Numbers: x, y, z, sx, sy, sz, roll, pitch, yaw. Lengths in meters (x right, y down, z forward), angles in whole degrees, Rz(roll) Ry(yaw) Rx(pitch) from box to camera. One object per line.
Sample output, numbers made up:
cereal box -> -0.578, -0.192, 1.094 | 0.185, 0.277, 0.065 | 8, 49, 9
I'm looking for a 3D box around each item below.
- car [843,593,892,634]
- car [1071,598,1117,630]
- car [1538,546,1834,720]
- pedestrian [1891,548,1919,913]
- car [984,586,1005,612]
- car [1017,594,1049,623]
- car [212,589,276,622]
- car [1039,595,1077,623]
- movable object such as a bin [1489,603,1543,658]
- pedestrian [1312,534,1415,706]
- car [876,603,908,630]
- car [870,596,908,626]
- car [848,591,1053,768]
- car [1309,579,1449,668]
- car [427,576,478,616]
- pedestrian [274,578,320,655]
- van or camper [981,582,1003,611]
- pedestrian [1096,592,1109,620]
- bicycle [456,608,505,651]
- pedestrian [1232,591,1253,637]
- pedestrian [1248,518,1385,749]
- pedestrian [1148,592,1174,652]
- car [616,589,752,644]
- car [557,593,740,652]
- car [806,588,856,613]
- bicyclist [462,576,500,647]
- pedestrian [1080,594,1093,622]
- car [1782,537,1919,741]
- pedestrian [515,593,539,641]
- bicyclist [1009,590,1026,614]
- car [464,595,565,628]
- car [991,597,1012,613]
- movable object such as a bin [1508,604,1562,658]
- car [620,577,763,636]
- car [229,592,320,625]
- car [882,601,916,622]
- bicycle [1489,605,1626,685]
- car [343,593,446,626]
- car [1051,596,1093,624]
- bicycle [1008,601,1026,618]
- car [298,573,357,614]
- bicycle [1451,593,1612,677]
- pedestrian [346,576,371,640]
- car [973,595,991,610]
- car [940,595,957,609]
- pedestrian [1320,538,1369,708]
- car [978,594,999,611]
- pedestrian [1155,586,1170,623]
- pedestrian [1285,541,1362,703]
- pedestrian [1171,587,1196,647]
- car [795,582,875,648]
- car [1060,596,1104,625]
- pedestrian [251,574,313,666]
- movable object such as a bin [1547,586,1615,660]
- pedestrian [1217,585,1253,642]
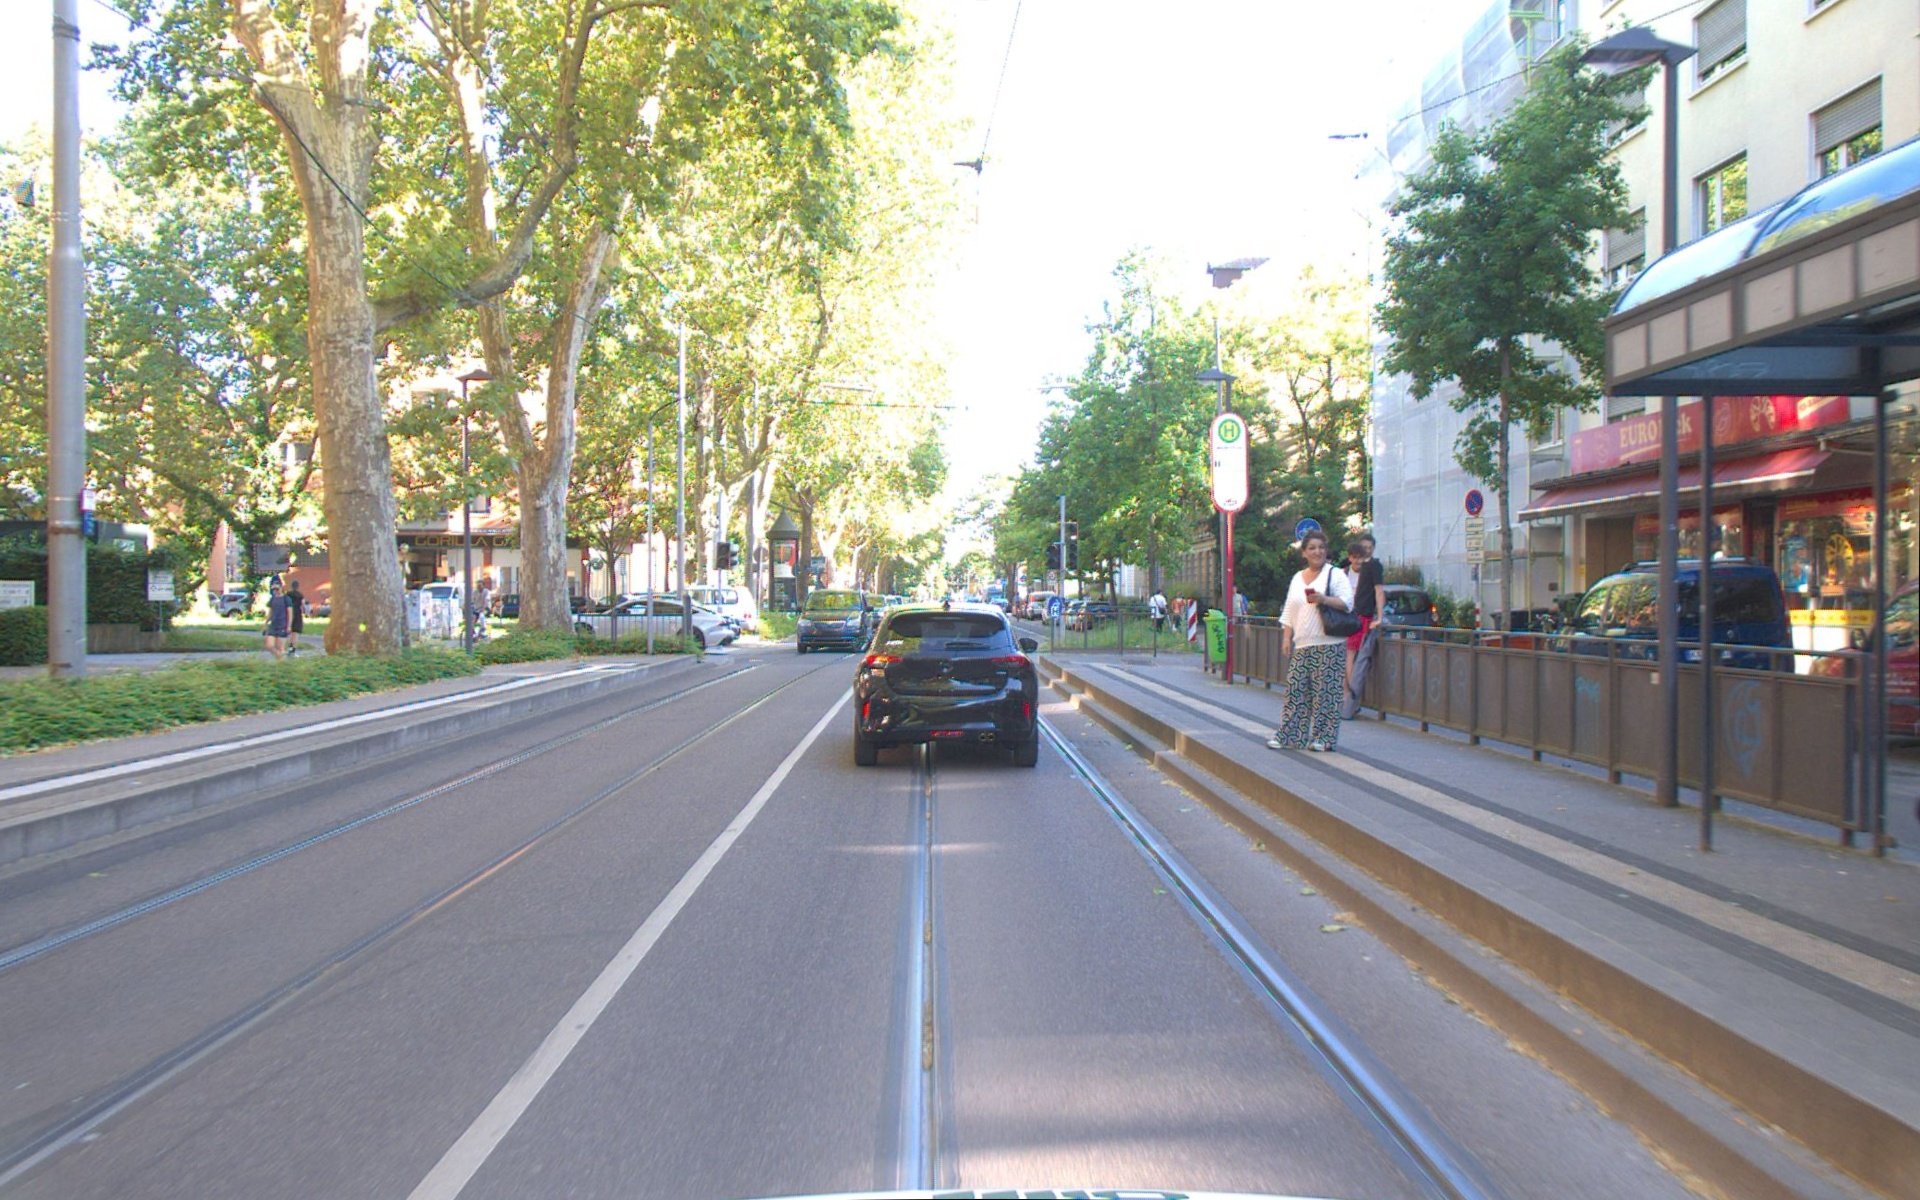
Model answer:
car -> -3.936, 0.565, 71.030 | 1.869, 1.666, 4.320 | -1, 0, -1
car -> 6.319, 0.655, 78.440 | 1.639, 1.437, 3.841 | -2, 0, -3
car -> 9.233, 0.380, 21.468 | 1.953, 1.929, 4.194 | -3, 0, 1
pedestrian -> 3.925, 0.488, 6.098 | 0.706, 1.349, 0.492 | 1, -1, -12
car -> 3.770, -0.100, 181.964 | 2.043, 2.820, 4.696 | -1, 0, -1
car -> 5.061, 0.576, 114.634 | 1.846, 1.883, 4.966 | -2, 0, -1
car -> -37.511, 0.283, 86.717 | 1.908, 1.646, 4.475 | 1, 0, -8
car -> 5.865, 0.538, 99.298 | 1.846, 1.595, 4.241 | -2, 0, -1
movable object such as a bin -> 11.732, 0.644, 34.884 | 0.863, 1.130, 0.696 | -1, 0, -3
pedestrian -> 4.169, 0.203, 17.124 | 0.828, 1.730, 0.692 | 1, 0, -8
car -> -4.133, 0.976, 101.119 | 1.779, 1.596, 4.115 | -1, 0, -1
car -> -3.608, 0.552, 84.487 | 1.739, 1.486, 4.204 | 1, 0, 0
car -> -0.107, 0.688, 16.109 | 1.727, 1.486, 3.949 | 1, 0, -1
car -> 8.443, 0.420, 33.706 | 1.726, 1.650, 4.442 | -2, 1, 0
car -> -26.821, -0.196, 87.592 | 1.957, 2.038, 4.908 | 1, 0, -10
pedestrian -> -14.843, 0.373, 37.041 | 0.695, 1.702, 0.779 | 1, 0, -1
van or camper -> 3.622, -0.362, 188.527 | 2.208, 3.272, 5.529 | -1, 0, -1
pedestrian -> 8.957, 0.389, 103.928 | 0.711, 1.739, 0.856 | 1, 0, 1
bicycle -> -12.428, 0.744, 42.915 | 0.700, 1.082, 1.839 | 1, 0, 0
pedestrian -> 11.005, 0.549, 64.495 | 0.607, 1.756, 0.552 | 1, -1, -13
pedestrian -> 2.784, 0.253, 12.956 | 0.633, 1.742, 0.826 | 1, -1, -35
pedestrian -> 6.241, 0.666, 51.266 | 0.710, 1.824, 0.854 | -2, 0, 10
car -> -8.830, 0.525, 53.175 | 4.056, 1.675, 1.901 | 1, 0, -3
car -> -8.372, 0.606, 44.776 | 4.671, 1.486, 1.953 | 1, 0, -5
car -> -13.556, 0.059, 173.647 | 4.934, 2.416, 2.081 | -3, 0, -1
bicyclist -> -12.425, 0.306, 42.909 | 0.685, 1.819, 0.839 | 1, 0, 0
pedestrian -> 7.943, 0.509, 103.937 | 0.711, 1.722, 0.956 | 1, 0, -2
car -> 9.255, 0.358, 14.721 | 1.654, 1.786, 4.172 | 1, 0, -2
pedestrian -> -16.574, 0.643, 63.290 | 0.630, 1.841, 0.752 | 1, 0, 4
bicyclist -> 3.684, 0.105, 105.883 | 0.939, 1.525, 1.093 | 1, 0, -3
car -> -21.580, 0.545, 80.231 | 4.441, 1.515, 1.857 | 1, 0, -7
car -> 4.071, 0.508, 164.668 | 1.846, 1.459, 4.529 | -2, 0, -1
movable object such as a bin -> 12.313, 0.656, 35.445 | 0.863, 1.130, 0.696 | -1, 0, -3
car -> -8.946, 0.231, 55.373 | 4.479, 1.866, 1.937 | 1, 0, -3
car -> -32.638, 0.403, 78.837 | 3.636, 1.475, 1.686 | 1, 0, -6
car -> -4.442, 0.839, 119.962 | 1.635, 1.469, 3.456 | 1, 0, -17
bicycle -> 9.786, 0.725, 27.176 | 0.675, 1.231, 2.190 | -1, 0, -29
car -> -27.088, 0.465, 79.318 | 4.385, 1.475, 1.820 | 1, 0, -9
car -> 6.348, 0.579, 94.465 | 1.846, 1.492, 4.591 | -2, 0, -3
bicycle -> 3.667, 0.610, 105.893 | 0.948, 1.016, 2.582 | 1, 0, -2
car -> -33.112, -0.313, 86.704 | 1.957, 2.038, 4.908 | 1, 0, -10
bicycle -> 9.014, 0.542, 26.141 | 2.159, 1.231, 1.029 | -2, 0, -1
pedestrian -> -16.595, 0.215, 45.634 | 0.526, 1.735, 0.586 | 1, -1, -33
car -> 2.874, 0.345, 216.658 | 2.208, 1.873, 5.529 | -1, 0, -1
car -> -1.508, 0.290, 223.585 | 2.208, 1.873, 5.529 | -1, 0, -1
pedestrian -> 4.175, 0.247, 17.928 | 0.482, 1.801, 0.704 | 1, -1, 14
car -> 3.392, 0.284, 195.717 | 2.208, 1.873, 5.529 | -1, 0, -1
pedestrian -> 9.934, 0.220, 81.062 | 0.586, 1.824, 0.728 | 1, 0, -4
pedestrian -> 4.079, 0.248, 18.587 | 0.674, 1.786, 0.579 | 1, -1, -8
pedestrian -> 6.929, 0.532, 51.270 | 0.710, 1.824, 0.969 | -2, 0, 10
car -> -3.503, 0.421, 47.221 | 1.953, 1.746, 5.141 | 1, 0, -1
car -> 6.253, 0.523, 85.257 | 1.846, 1.392, 4.106 | -2, 0, -1
pedestrian -> -12.806, 0.376, 31.269 | 0.723, 1.701, 0.968 | 1, 0, 0
movable object such as a bin -> 12.270, 0.452, 32.692 | 0.979, 1.421, 0.824 | -1, 0, -3
pedestrian -> 9.445, 0.464, 56.803 | 0.854, 1.918, 0.993 | 1, 0, -19
